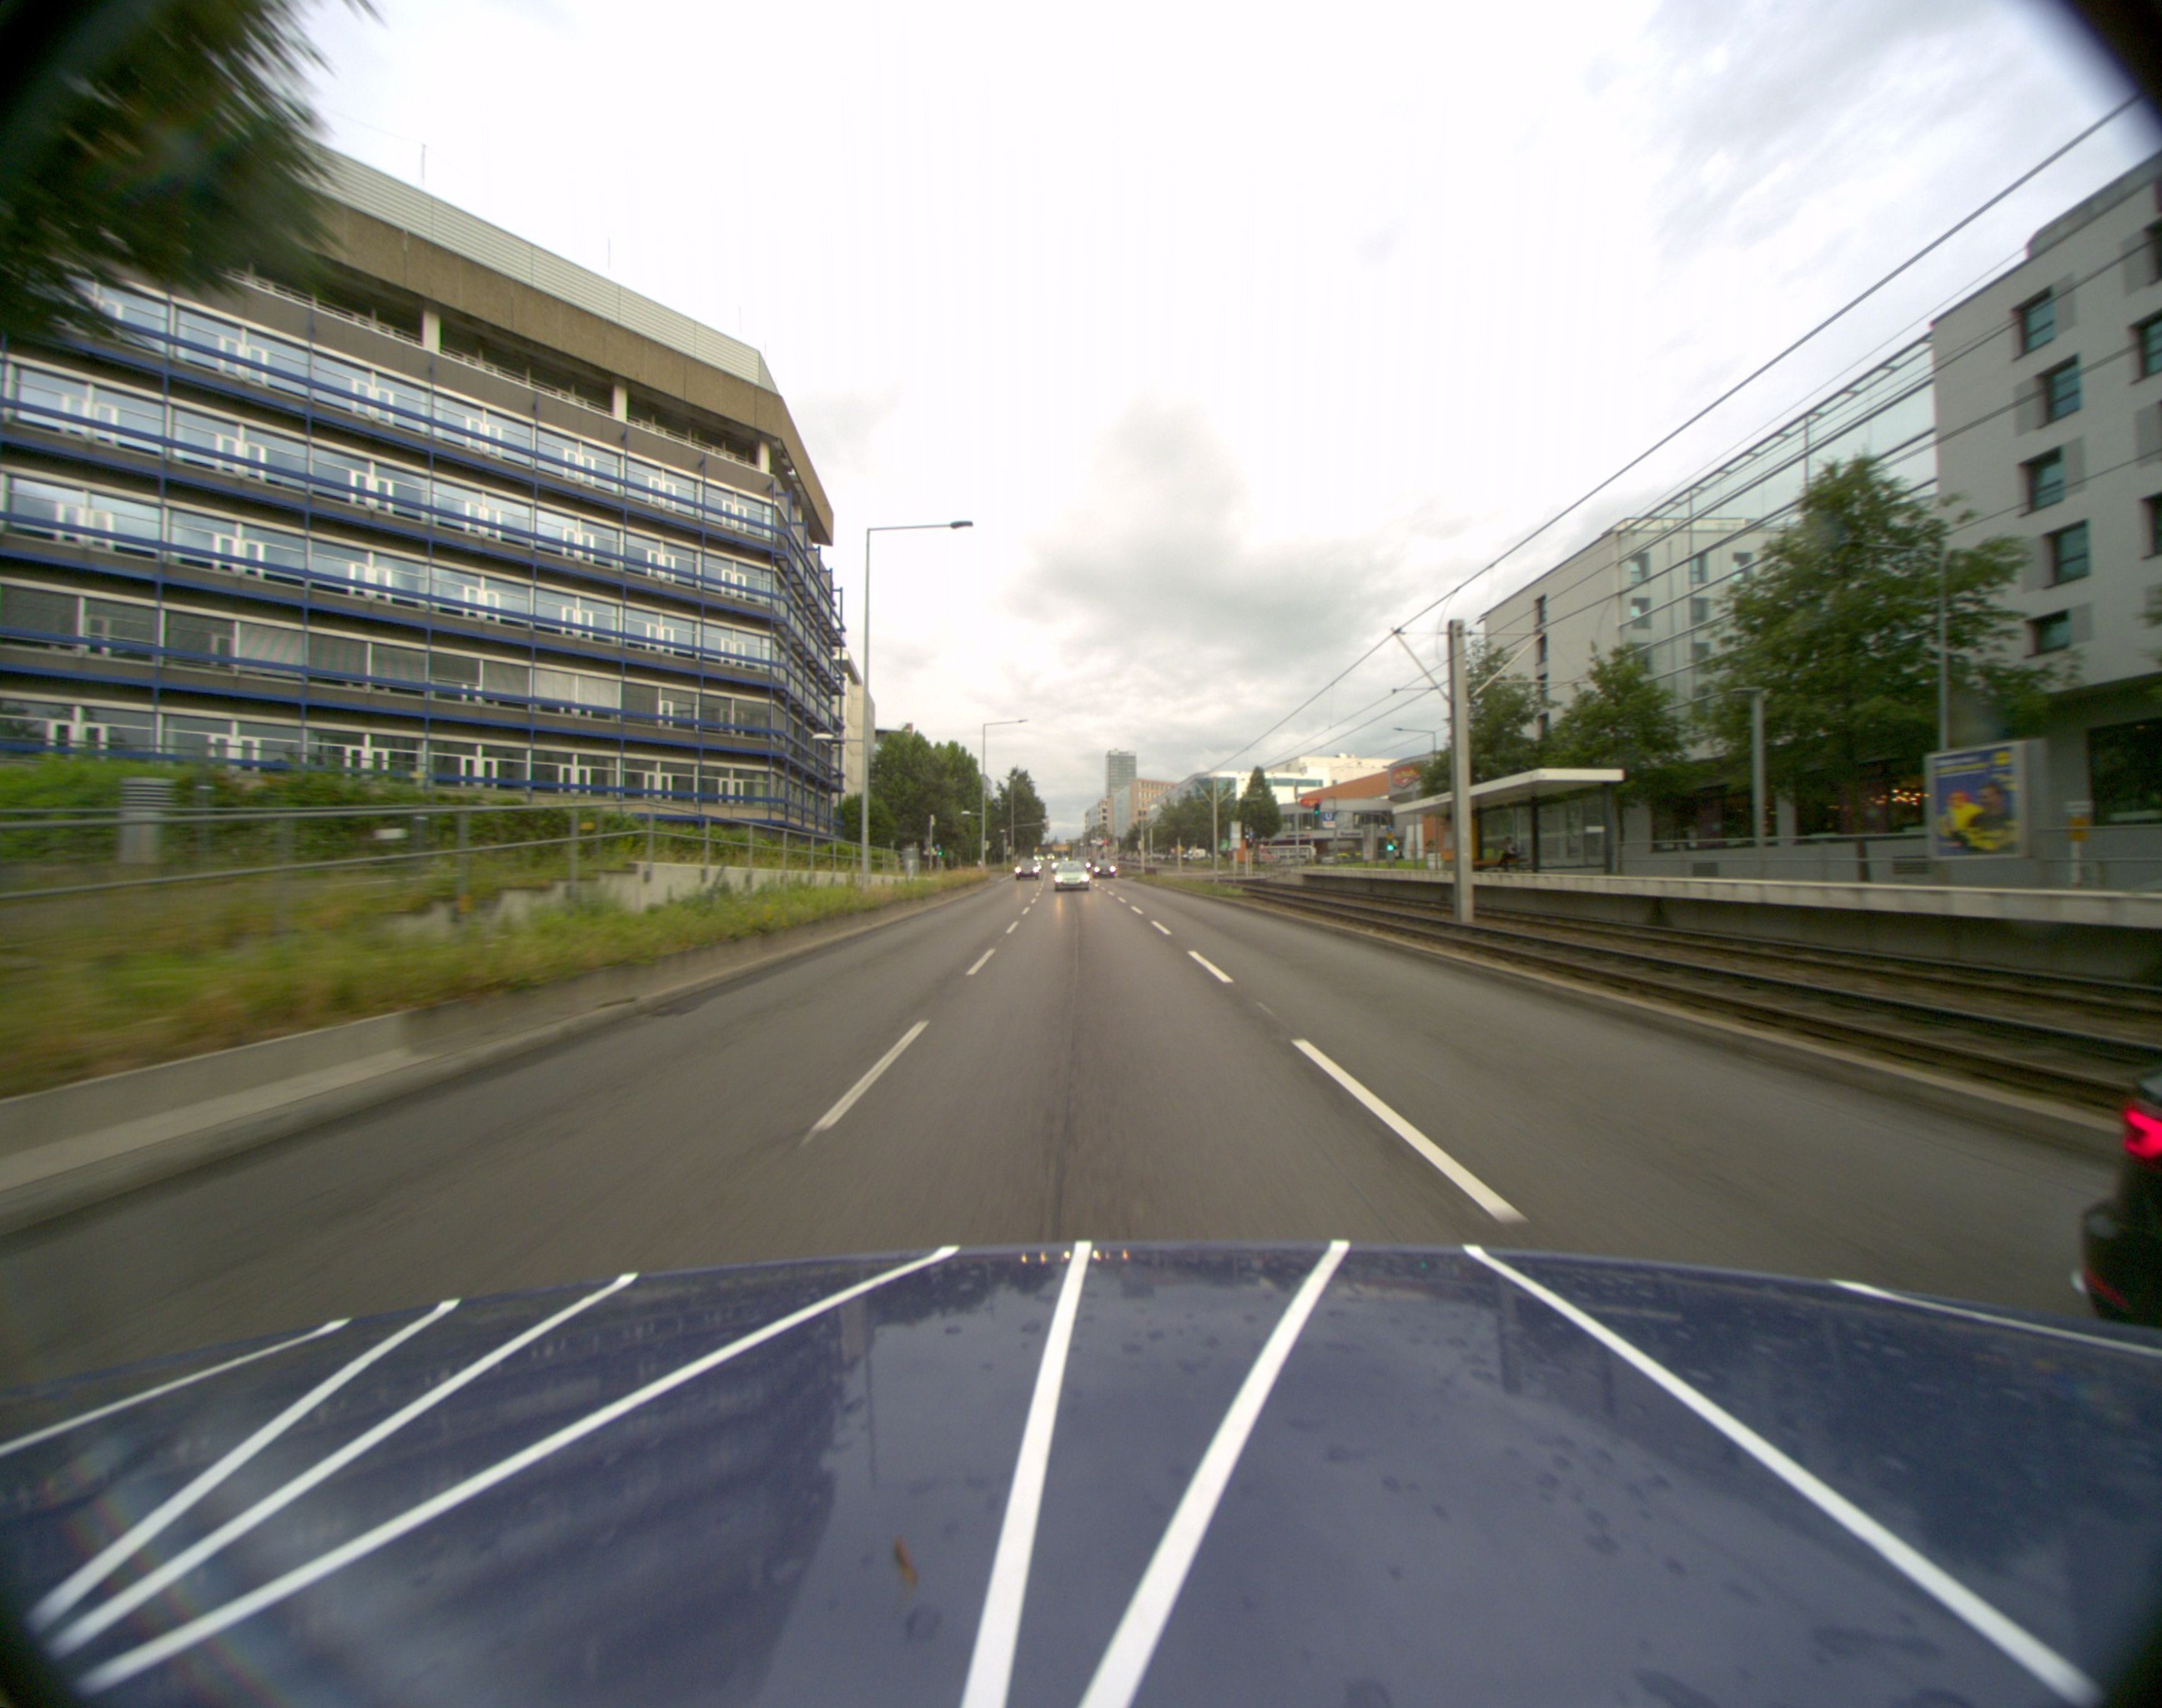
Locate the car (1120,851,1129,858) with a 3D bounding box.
[{"bbox_3d":[11.697,0.118,204.633,1.999,1.764,4.387,-1,0,-2],"label":"car"}]

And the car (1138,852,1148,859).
[{"bbox_3d":[13.844,0.342,169.042,1.733,1.415,3.778,-1,0,-3],"label":"car"}]

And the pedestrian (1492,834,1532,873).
[{"bbox_3d":[14.600,-0.015,25.766,0.964,1.292,0.684,0,0,-1],"label":"pedestrian"}]

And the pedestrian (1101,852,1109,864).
[{"bbox_3d":[3.180,0.506,99.698,0.704,1.641,0.648,-2,1,-31],"label":"pedestrian"}]

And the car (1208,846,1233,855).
[{"bbox_3d":[34.060,-0.926,185.294,5.484,1.915,2.277,-2,1,-8],"label":"car"}]

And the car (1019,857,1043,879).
[{"bbox_3d":[-4.046,1.081,61.896,1.816,1.660,4.547,-1,0,-2],"label":"car"}]

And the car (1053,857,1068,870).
[{"bbox_3d":[-2.492,1.134,93.101,1.781,1.552,3.739,-1,0,-2],"label":"car"}]

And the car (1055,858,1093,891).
[{"bbox_3d":[-0.403,1.007,39.297,1.804,1.533,4.373,-1,0,-2],"label":"car"}]

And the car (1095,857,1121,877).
[{"bbox_3d":[2.188,1.023,61.968,1.799,1.493,3.999,-1,0,-2],"label":"car"}]

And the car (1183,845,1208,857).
[{"bbox_3d":[27.537,-0.632,182.919,5.489,2.614,2.275,-2,1,-20],"label":"car"}]

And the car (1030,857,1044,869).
[{"bbox_3d":[-5.908,1.187,102.622,1.873,1.533,4.105,-1,0,-2],"label":"car"}]

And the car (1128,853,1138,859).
[{"bbox_3d":[12.747,0.413,187.048,1.858,1.419,4.386,1,0,-4],"label":"car"}]

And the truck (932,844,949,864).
[{"bbox_3d":[-18.795,-0.052,101.757,1.751,2.503,3.997,-2,1,-6],"label":"truck"}]

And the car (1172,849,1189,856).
[{"bbox_3d":[25.826,-0.286,197.949,4.000,1.652,1.920,-3,1,-9],"label":"car"}]

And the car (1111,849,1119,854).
[{"bbox_3d":[10.897,-0.781,244.973,1.999,1.509,4.704,-2,1,-4],"label":"car"}]

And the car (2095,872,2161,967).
[{"bbox_3d":[19.866,1.176,11.844,1.900,1.642,4.658,1,0,1],"label":"car"}]

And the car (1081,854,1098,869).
[{"bbox_3d":[1.046,0.876,91.750,1.781,1.670,4.129,-1,0,-2],"label":"car"}]
